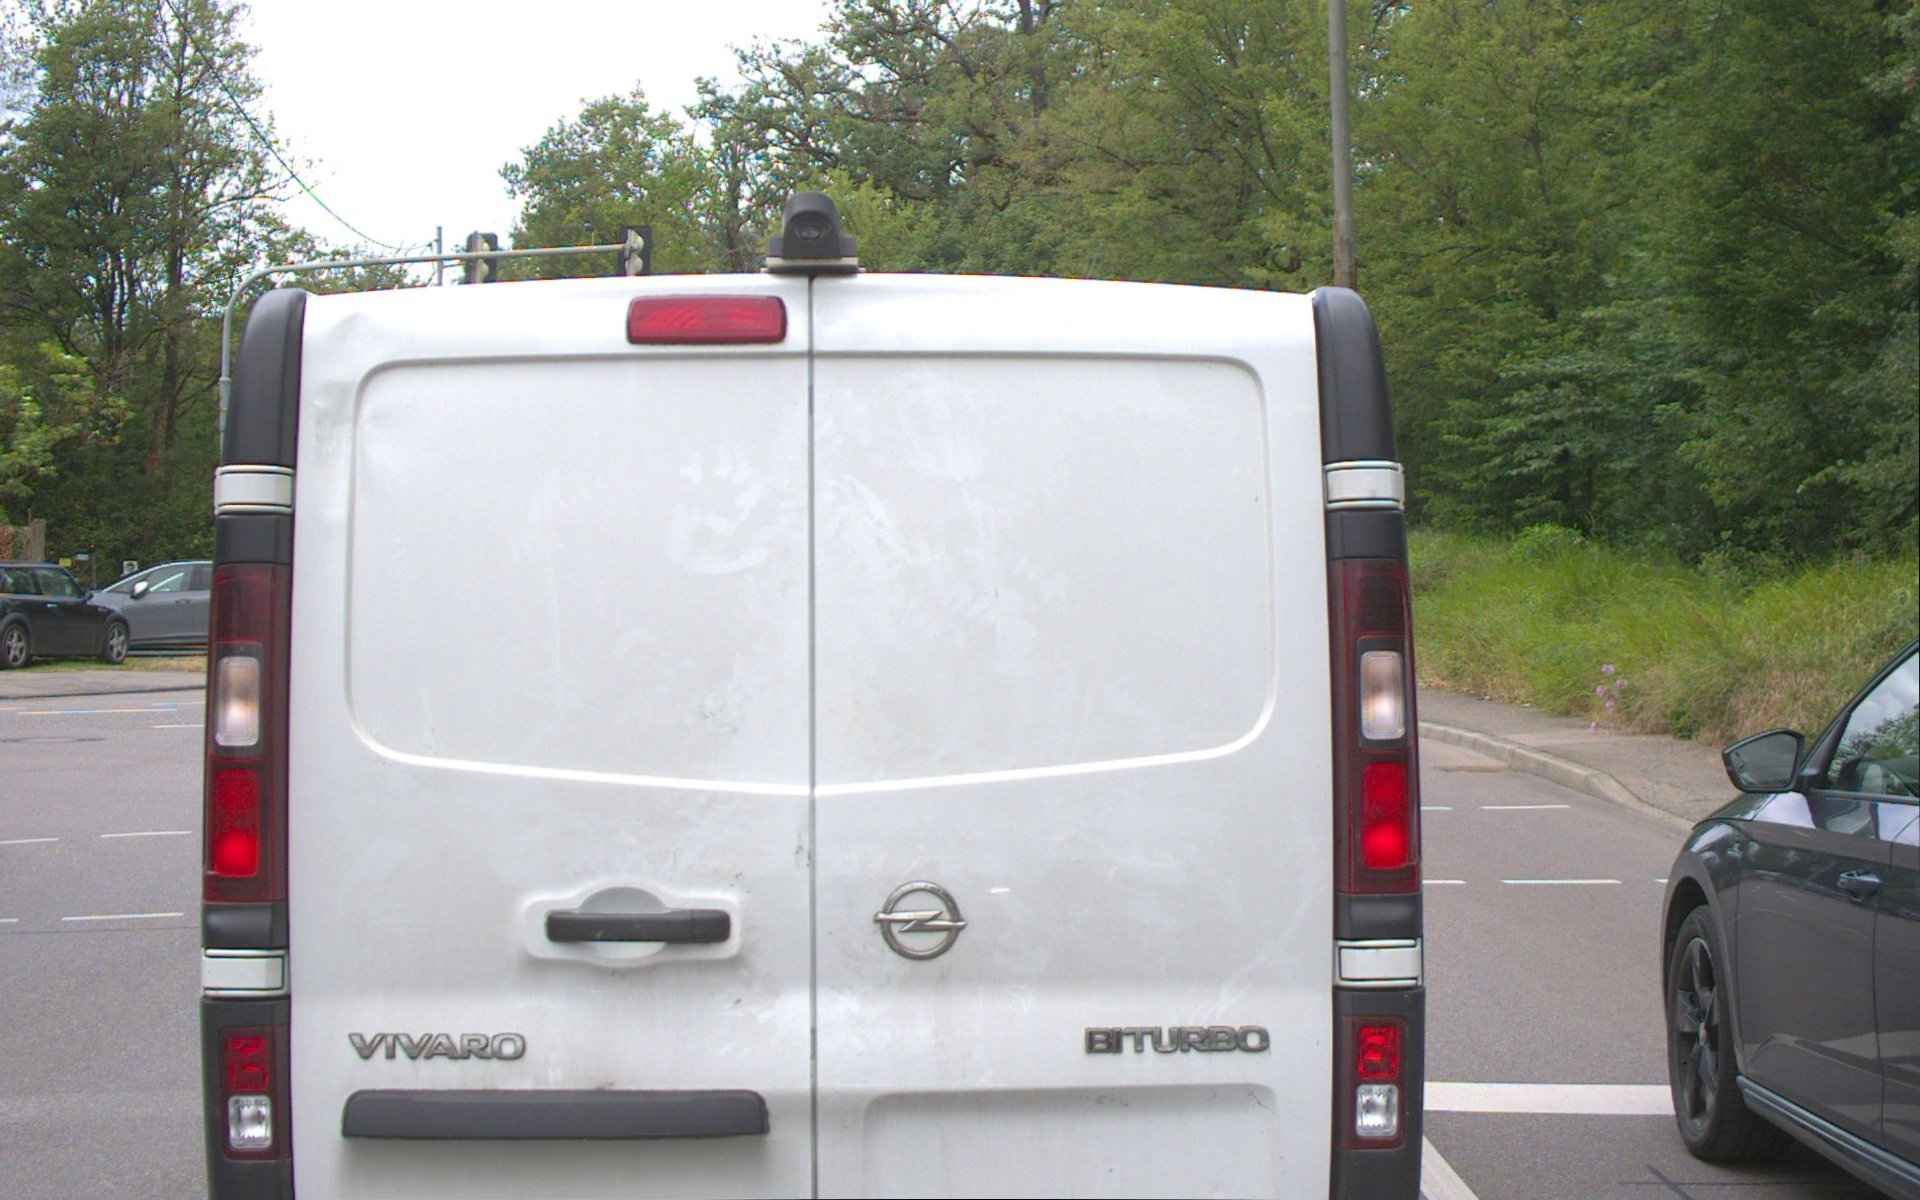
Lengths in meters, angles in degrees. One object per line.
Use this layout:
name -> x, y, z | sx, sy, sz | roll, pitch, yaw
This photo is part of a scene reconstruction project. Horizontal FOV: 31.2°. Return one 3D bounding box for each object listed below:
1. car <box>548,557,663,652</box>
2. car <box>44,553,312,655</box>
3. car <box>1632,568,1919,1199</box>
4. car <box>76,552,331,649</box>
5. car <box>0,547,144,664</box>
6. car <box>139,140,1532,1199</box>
car -> -5.920, 0.052, 57.749 | 1.856, 1.501, 4.001 | 0, 1, -5
car -> -12.648, 0.047, 55.548 | 4.085, 1.548, 1.855 | -1, 2, -17
car -> 2.689, 0.676, 6.881 | 1.792, 1.445, 4.000 | 0, 1, -2
car -> -12.882, -0.013, 58.484 | 4.085, 1.548, 1.855 | -1, 2, -17
car -> -12.473, 0.045, 45.247 | 1.699, 1.444, 3.540 | 2, 1, 19
car -> -0.285, 0.363, 7.117 | 1.916, 2.046, 4.615 | 1, 1, -3
